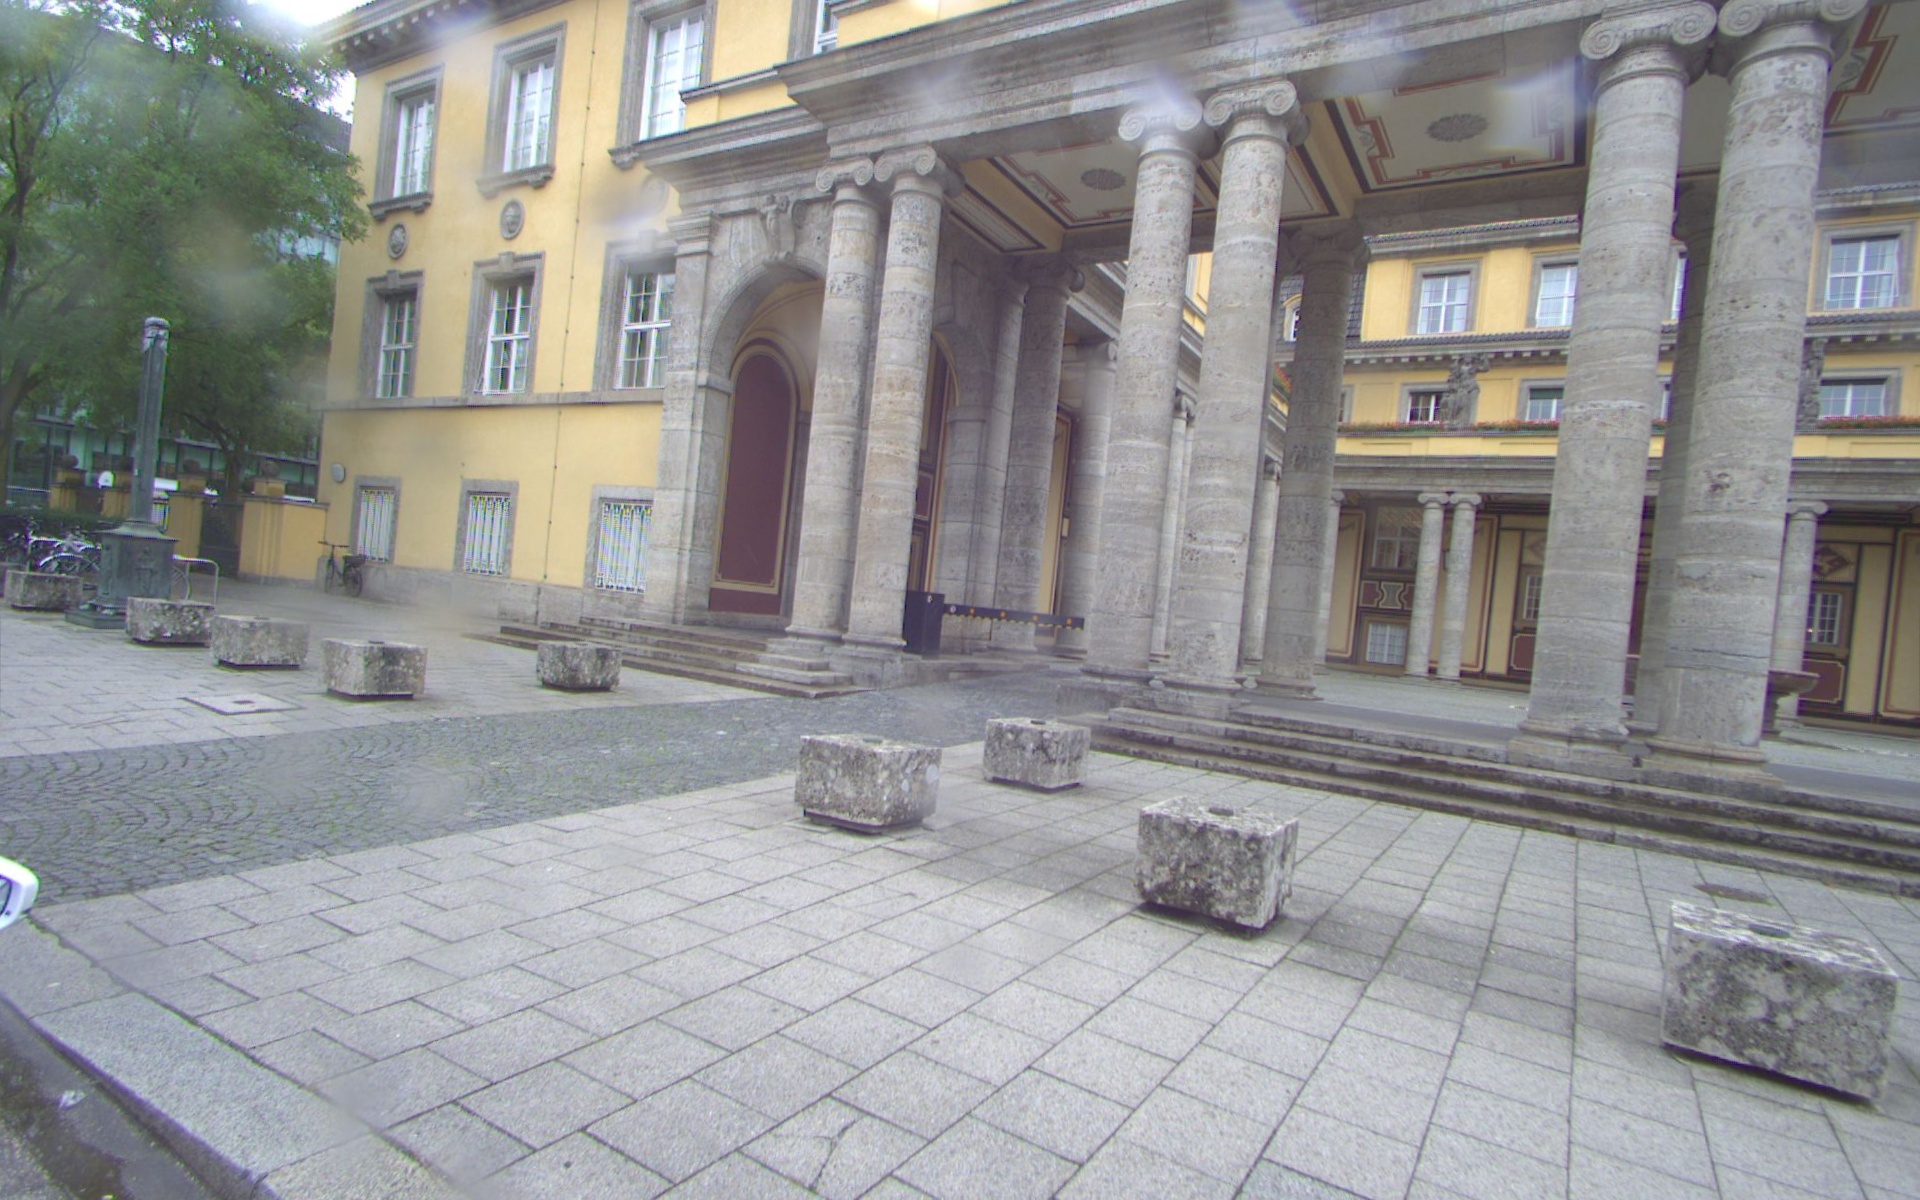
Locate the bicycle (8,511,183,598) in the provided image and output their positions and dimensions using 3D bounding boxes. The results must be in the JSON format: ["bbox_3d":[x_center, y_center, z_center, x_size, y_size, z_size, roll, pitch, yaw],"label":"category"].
[{"bbox_3d":[-13.152,-0.665,15.365,0.464,1.128,1.931,7,1,34],"label":"bicycle"}]

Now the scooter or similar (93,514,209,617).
[{"bbox_3d":[-10.673,-0.444,13.301,0.996,1.238,0.536,5,2,-13],"label":"scooter or similar"}]

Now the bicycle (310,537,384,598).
[{"bbox_3d":[-13.736,-0.739,22.510,1.870,1.169,0.542,7,2,31],"label":"bicycle"}]

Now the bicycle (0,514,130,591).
[{"bbox_3d":[-15.031,-0.785,16.622,0.464,1.128,1.931,7,1,34],"label":"bicycle"}]

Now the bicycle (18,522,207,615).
[{"bbox_3d":[-11.738,-0.406,14.011,0.463,1.128,1.933,6,1,29],"label":"bicycle"}]

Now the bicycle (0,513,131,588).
[{"bbox_3d":[-15.545,-0.845,17.264,0.464,1.128,1.931,7,1,33],"label":"bicycle"}]
